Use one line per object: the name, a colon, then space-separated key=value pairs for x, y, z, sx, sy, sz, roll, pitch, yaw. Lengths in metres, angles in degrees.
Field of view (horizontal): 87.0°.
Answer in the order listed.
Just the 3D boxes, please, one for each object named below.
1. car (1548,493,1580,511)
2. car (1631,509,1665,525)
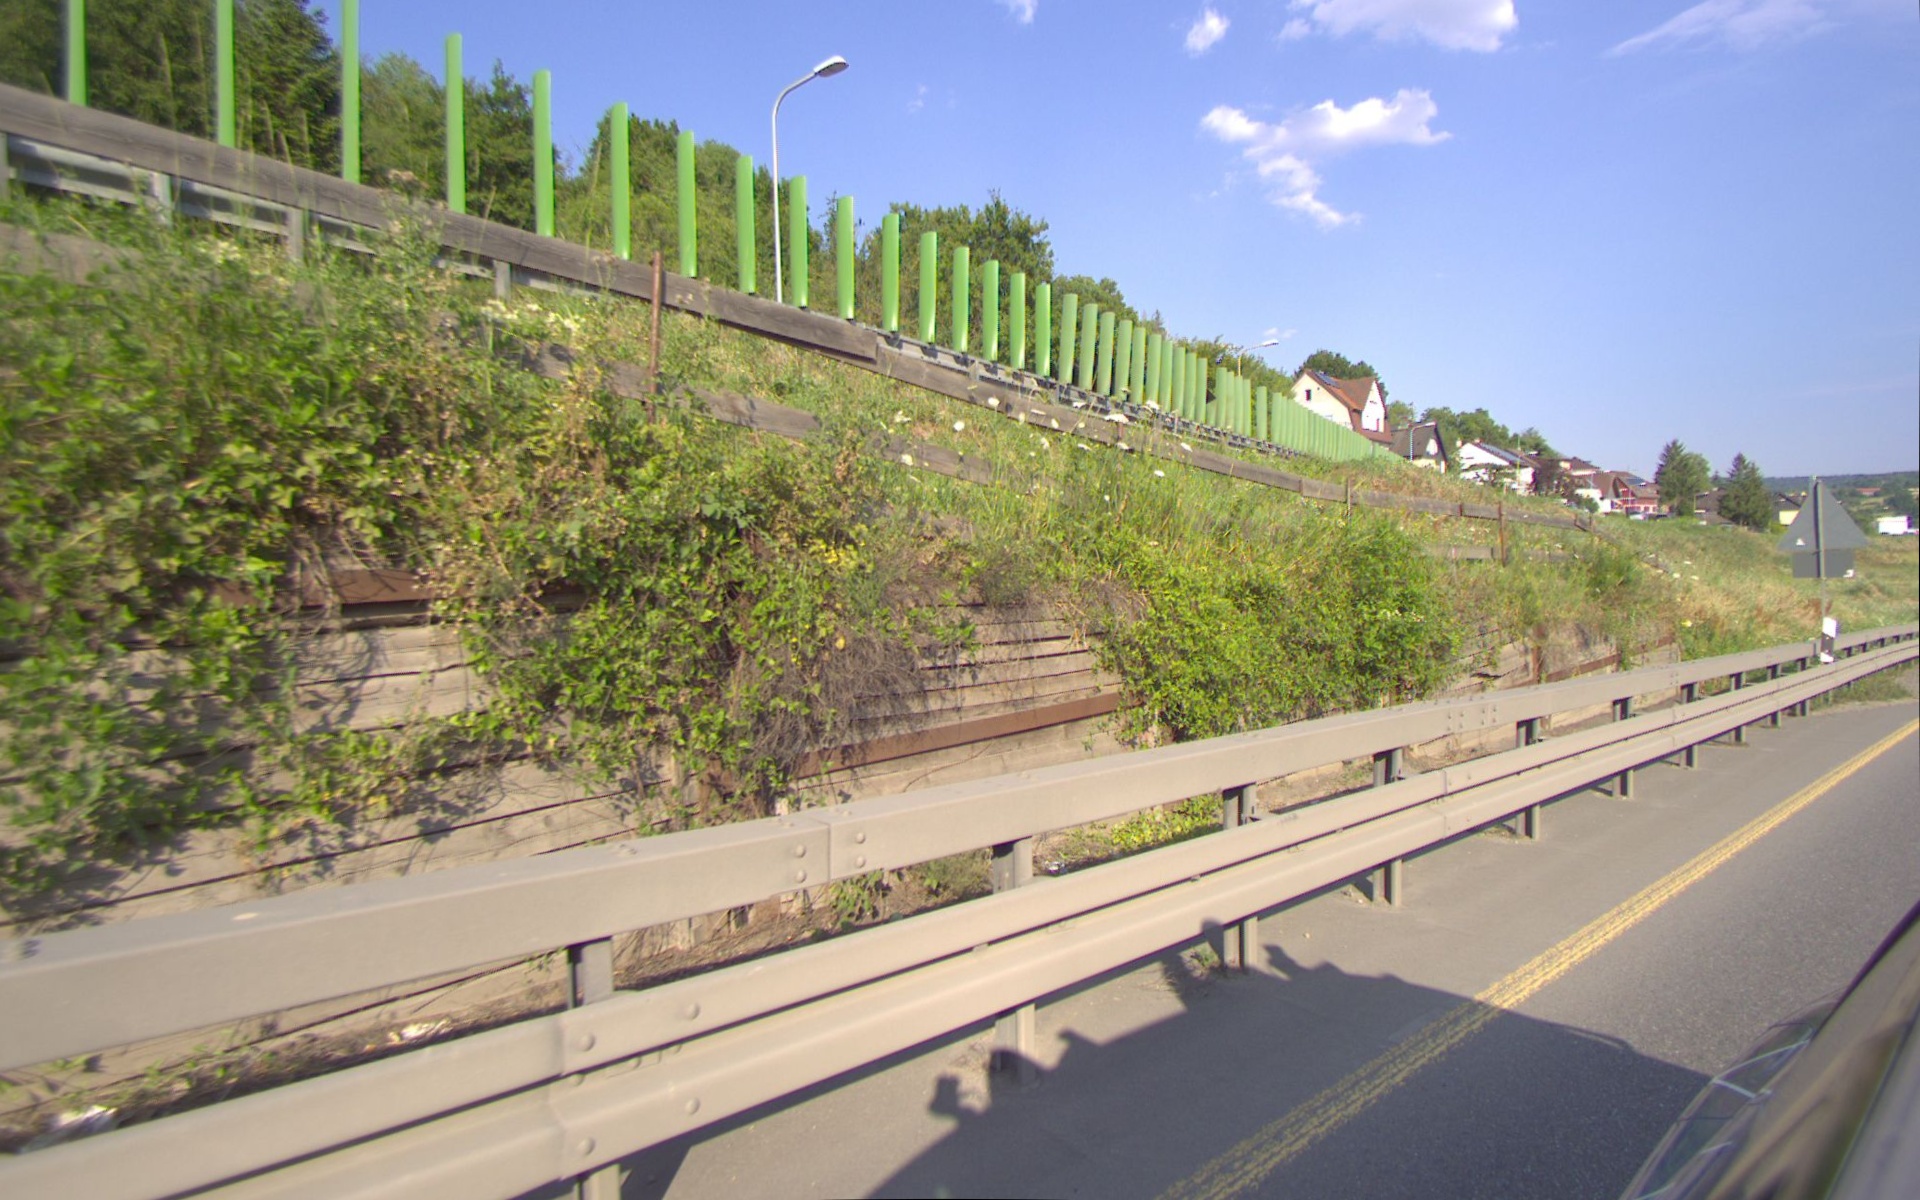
car: x=52.137 y=-8.423 z=87.310 sx=3.835 sy=1.248 sz=1.345 roll=-2 pitch=1 yaw=-43
car: x=75.594 y=-9.088 z=111.161 sx=3.929 sy=1.460 sz=1.998 roll=-1 pitch=1 yaw=-39
